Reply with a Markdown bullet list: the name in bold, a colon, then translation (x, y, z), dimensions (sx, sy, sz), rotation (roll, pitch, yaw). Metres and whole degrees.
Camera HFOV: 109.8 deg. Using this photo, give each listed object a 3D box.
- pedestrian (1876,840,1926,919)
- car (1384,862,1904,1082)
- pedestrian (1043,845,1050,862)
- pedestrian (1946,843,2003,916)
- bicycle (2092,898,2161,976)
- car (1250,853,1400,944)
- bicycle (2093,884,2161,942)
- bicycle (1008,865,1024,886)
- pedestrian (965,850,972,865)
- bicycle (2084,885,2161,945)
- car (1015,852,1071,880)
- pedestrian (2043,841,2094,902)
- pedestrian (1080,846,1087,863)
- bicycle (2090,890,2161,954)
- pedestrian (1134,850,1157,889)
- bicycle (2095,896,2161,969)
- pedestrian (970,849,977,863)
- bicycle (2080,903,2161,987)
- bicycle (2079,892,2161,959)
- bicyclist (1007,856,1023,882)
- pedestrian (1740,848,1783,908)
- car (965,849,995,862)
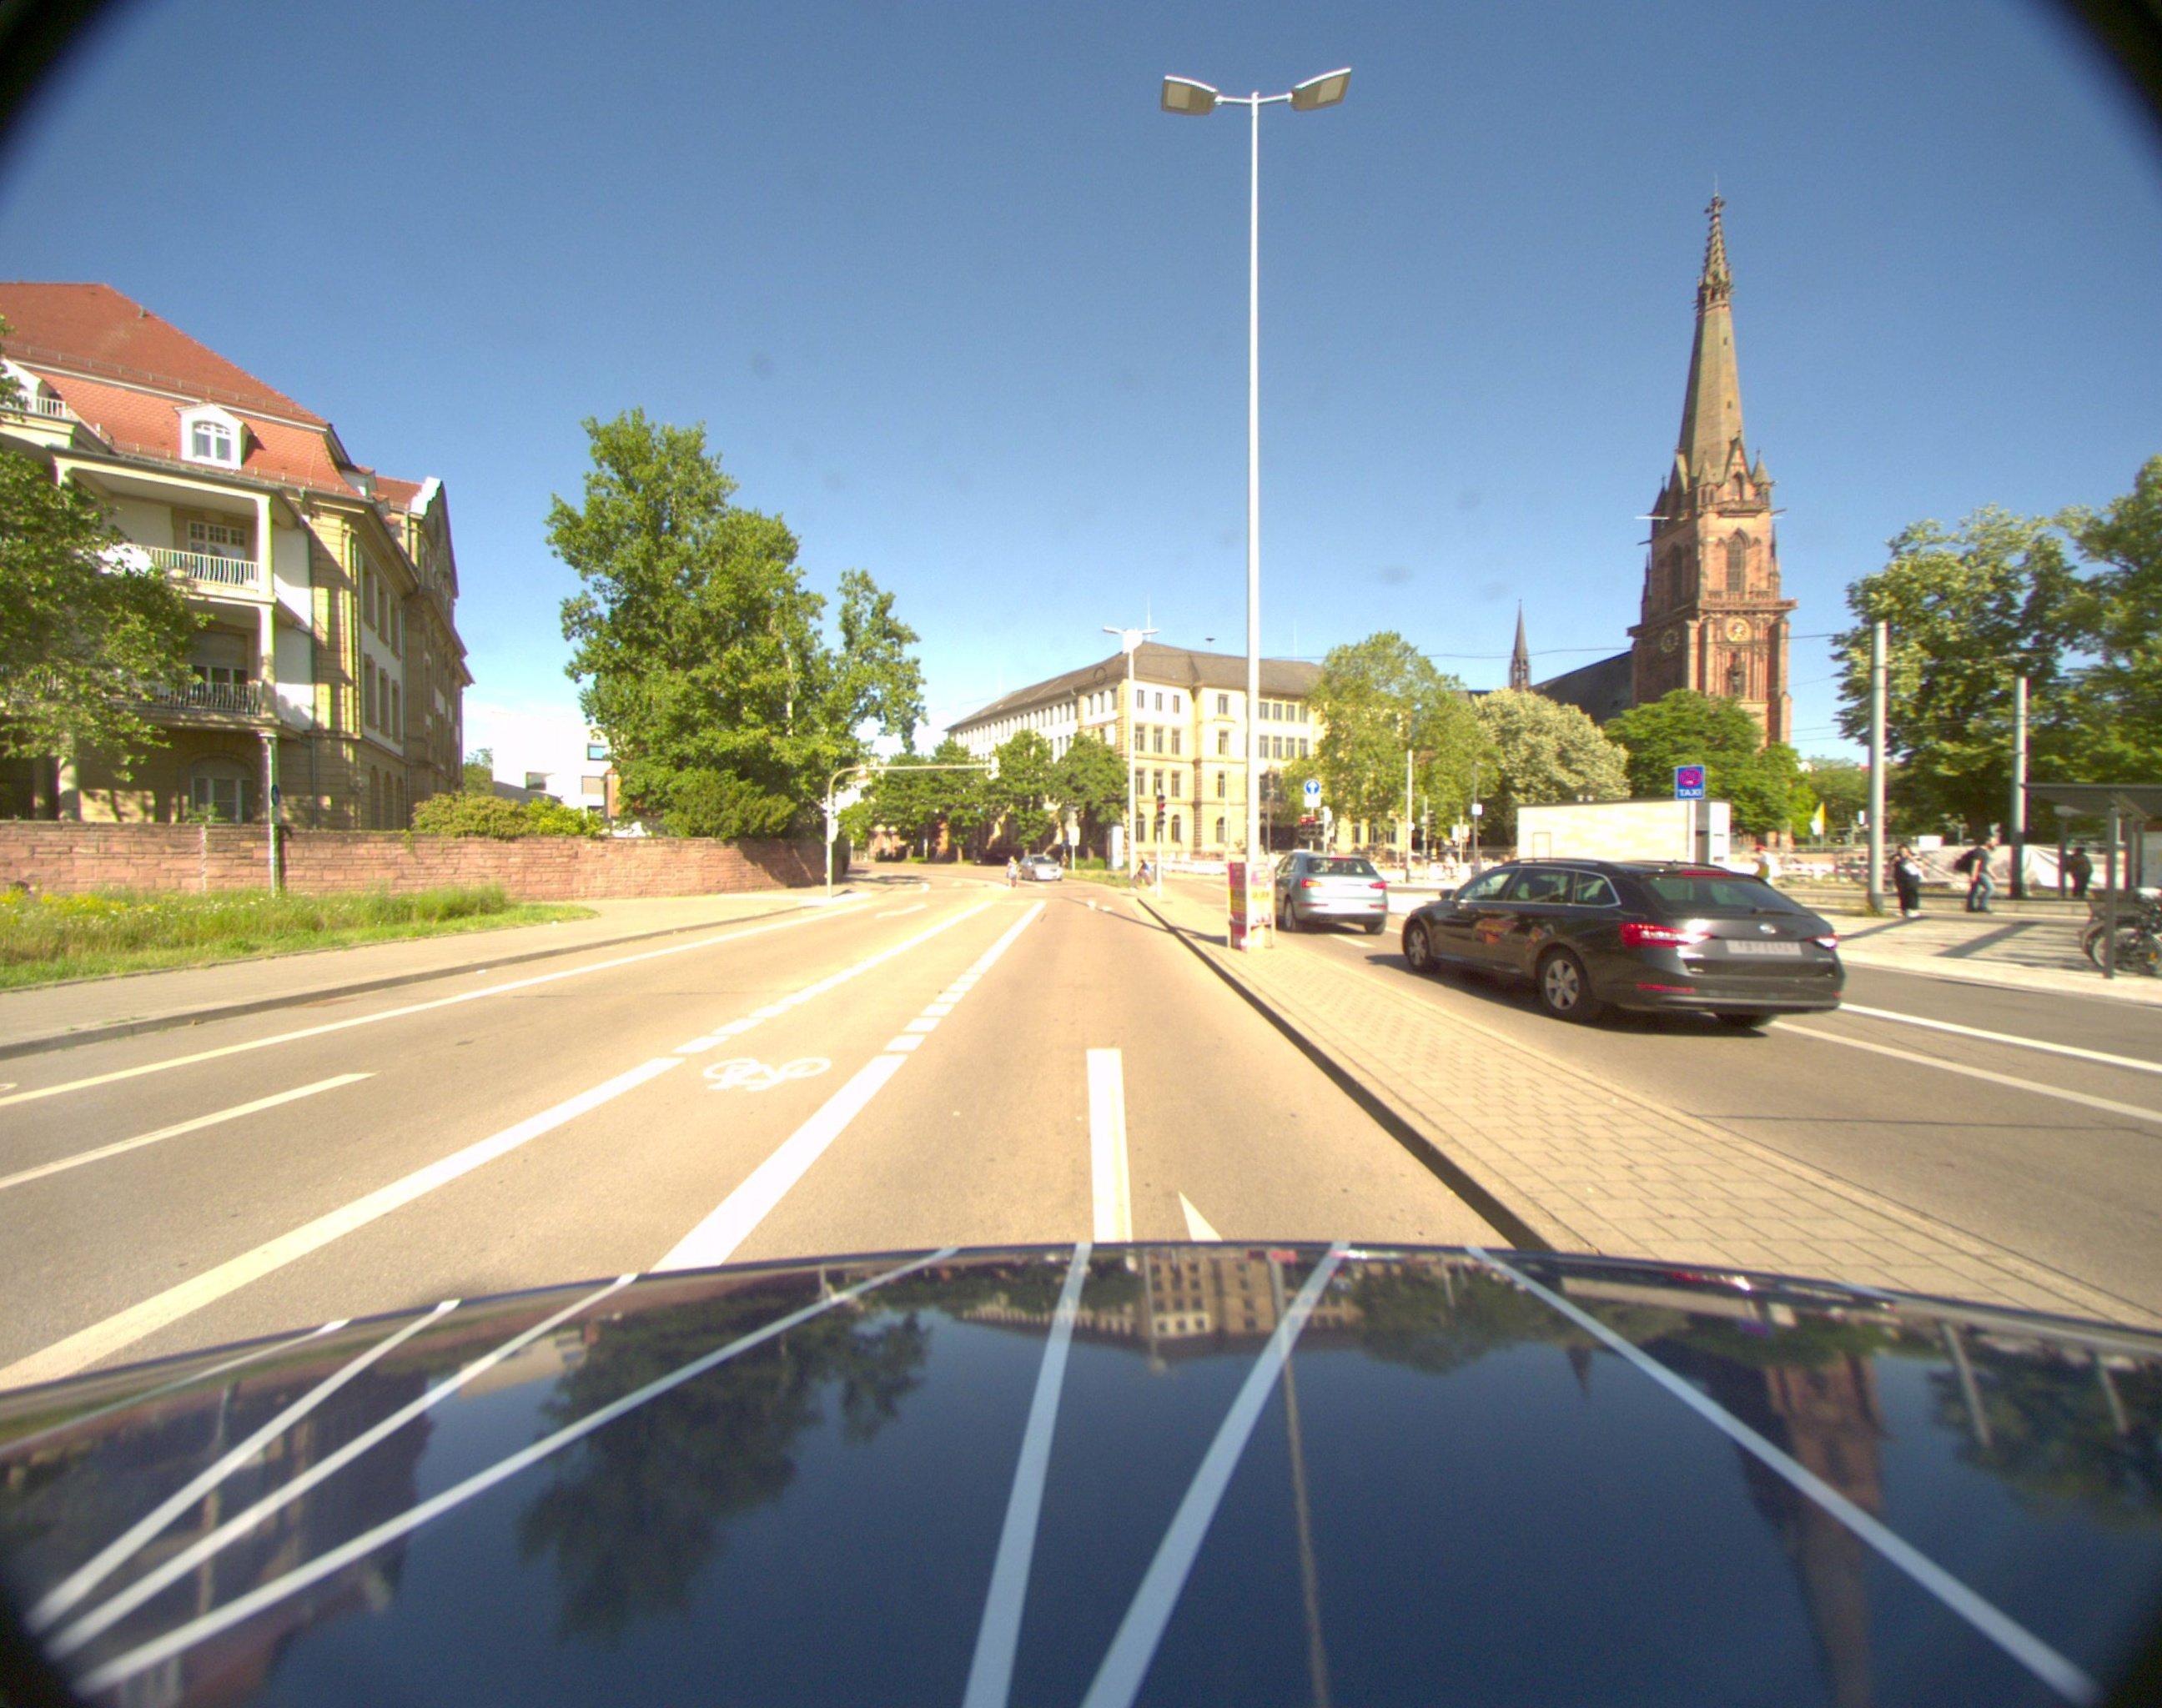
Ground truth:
- **pedestrian**: translation (19.583, 0.583, 18.147), dimensions (0.703, 1.849, 0.619), rotation (-1, 1, -26)
- **car**: translation (5.082, 0.891, 7.958), dimensions (1.818, 1.496, 4.783), rotation (2, 0, -1)
- **pedestrian**: translation (-3.904, -0.058, 86.611), dimensions (0.557, 2.002, 0.645), rotation (-1, 1, -37)
- **pedestrian**: translation (21.560, 0.595, 18.339), dimensions (0.622, 1.717, 0.831), rotation (-1, 1, -36)
- **bicycle**: translation (15.024, 1.167, 10.202), dimensions (0.407, 0.993, 1.678), rotation (-3, 3, -33)
- **car**: translation (4.836, 0.800, 15.718), dimensions (1.792, 1.572, 4.258), rotation (1, 0, 2)
- **bicycle**: translation (19.507, 1.066, 13.573), dimensions (0.407, 0.993, 1.679), rotation (-3, 2, -33)
- **bicycle**: translation (-3.427, 1.122, 39.688), dimensions (0.741, 0.989, 2.305), rotation (-2, 1, -6)
- **pedestrian**: translation (-14.717, 0.454, 99.198), dimensions (0.578, 1.893, 0.781), rotation (-1, 1, -36)
- **bicycle**: translation (19.022, 1.086, 13.331), dimensions (0.407, 0.993, 1.679), rotation (-3, 2, -33)
- **car**: translation (-2.416, 0.718, 46.890), dimensions (2.002, 1.580, 4.843), rotation (-3, 1, -22)
- **pedestrian**: translation (30.505, 0.539, 23.485), dimensions (0.619, 1.849, 0.703), rotation (0, 1, 11)
- **pedestrian**: translation (0.267, 0.039, 78.300), dimensions (0.540, 1.710, 0.545), rotation (-1, 1, -37)
- **bicycle**: translation (17.958, 1.139, 12.453), dimensions (0.407, 0.993, 1.679), rotation (-3, 2, -33)
- **pedestrian**: translation (2.763, 0.653, 32.682), dimensions (0.932, 1.657, 0.630), rotation (0, 1, -2)
- **bicycle**: translation (16.122, 1.184, 10.993), dimensions (0.407, 0.993, 1.678), rotation (-3, 3, -33)
- **pedestrian**: translation (-14.112, 0.246, 99.759), dimensions (0.578, 1.893, 0.849), rotation (-1, 1, -36)
- **bicycle**: translation (13.979, 1.190, 9.545), dimensions (0.407, 0.993, 1.678), rotation (-3, 3, -33)
- **bicycle**: translation (17.178, 1.143, 12.006), dimensions (0.407, 0.993, 1.679), rotation (-3, 2, -33)
- **bicyclist**: translation (-3.445, 0.777, 39.669), dimensions (0.741, 1.363, 0.626), rotation (-2, 1, -6)
- **pedestrian**: translation (18.716, 0.641, 20.908), dimensions (0.621, 1.613, 0.700), rotation (-1, 1, -30)
- **car**: translation (-12.041, 0.144, 90.396), dimensions (1.839, 1.587, 3.989), rotation (-1, 1, -37)
